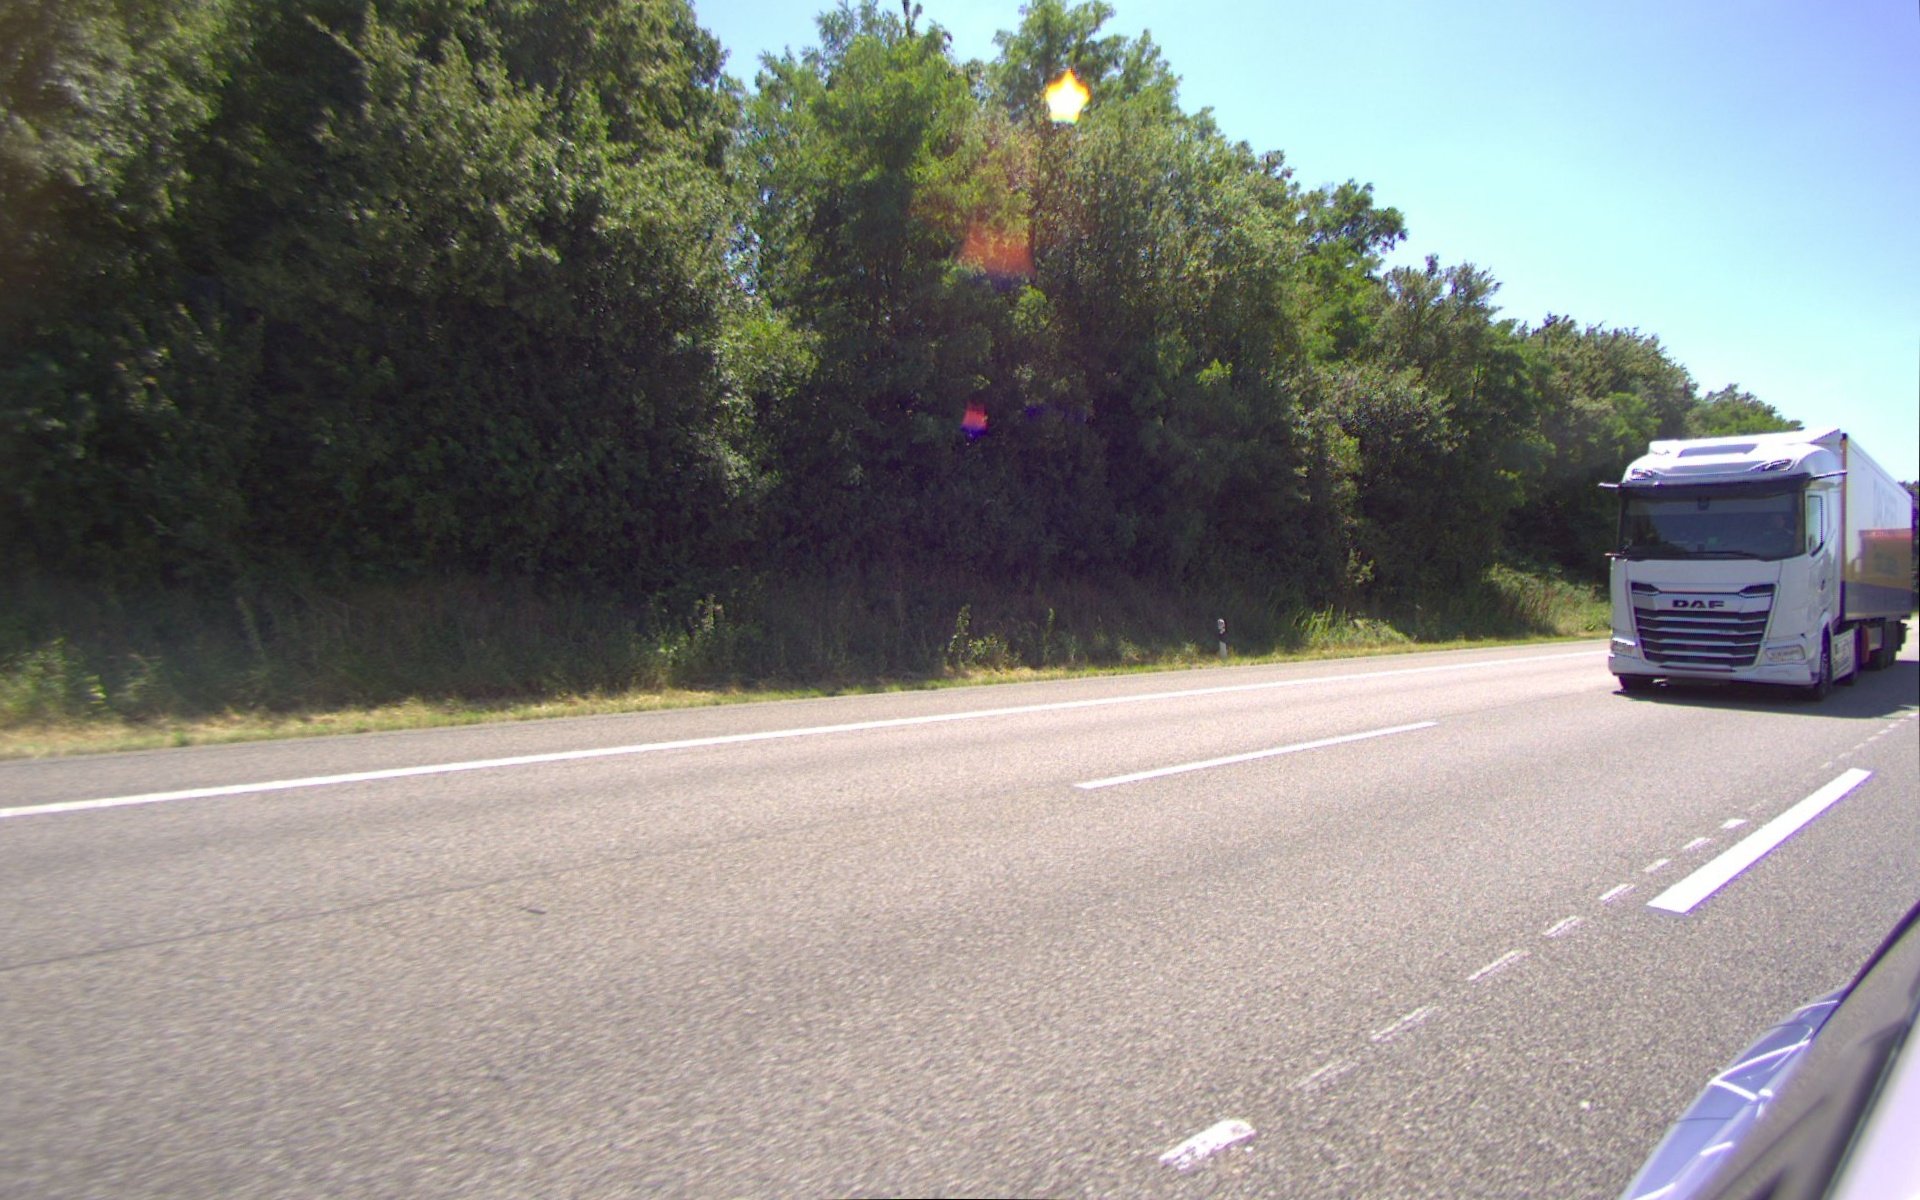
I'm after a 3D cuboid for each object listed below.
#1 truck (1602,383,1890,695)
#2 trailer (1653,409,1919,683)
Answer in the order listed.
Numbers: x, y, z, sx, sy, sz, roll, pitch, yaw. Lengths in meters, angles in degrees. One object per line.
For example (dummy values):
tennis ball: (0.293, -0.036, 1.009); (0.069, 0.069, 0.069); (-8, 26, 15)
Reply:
truck: (12.853, -0.824, 16.380); (5.944, 4.121, 2.681); (0, 0, -42)
trailer: (17.738, -0.843, 20.783); (13.597, 4.121, 2.681); (0, 0, -42)
